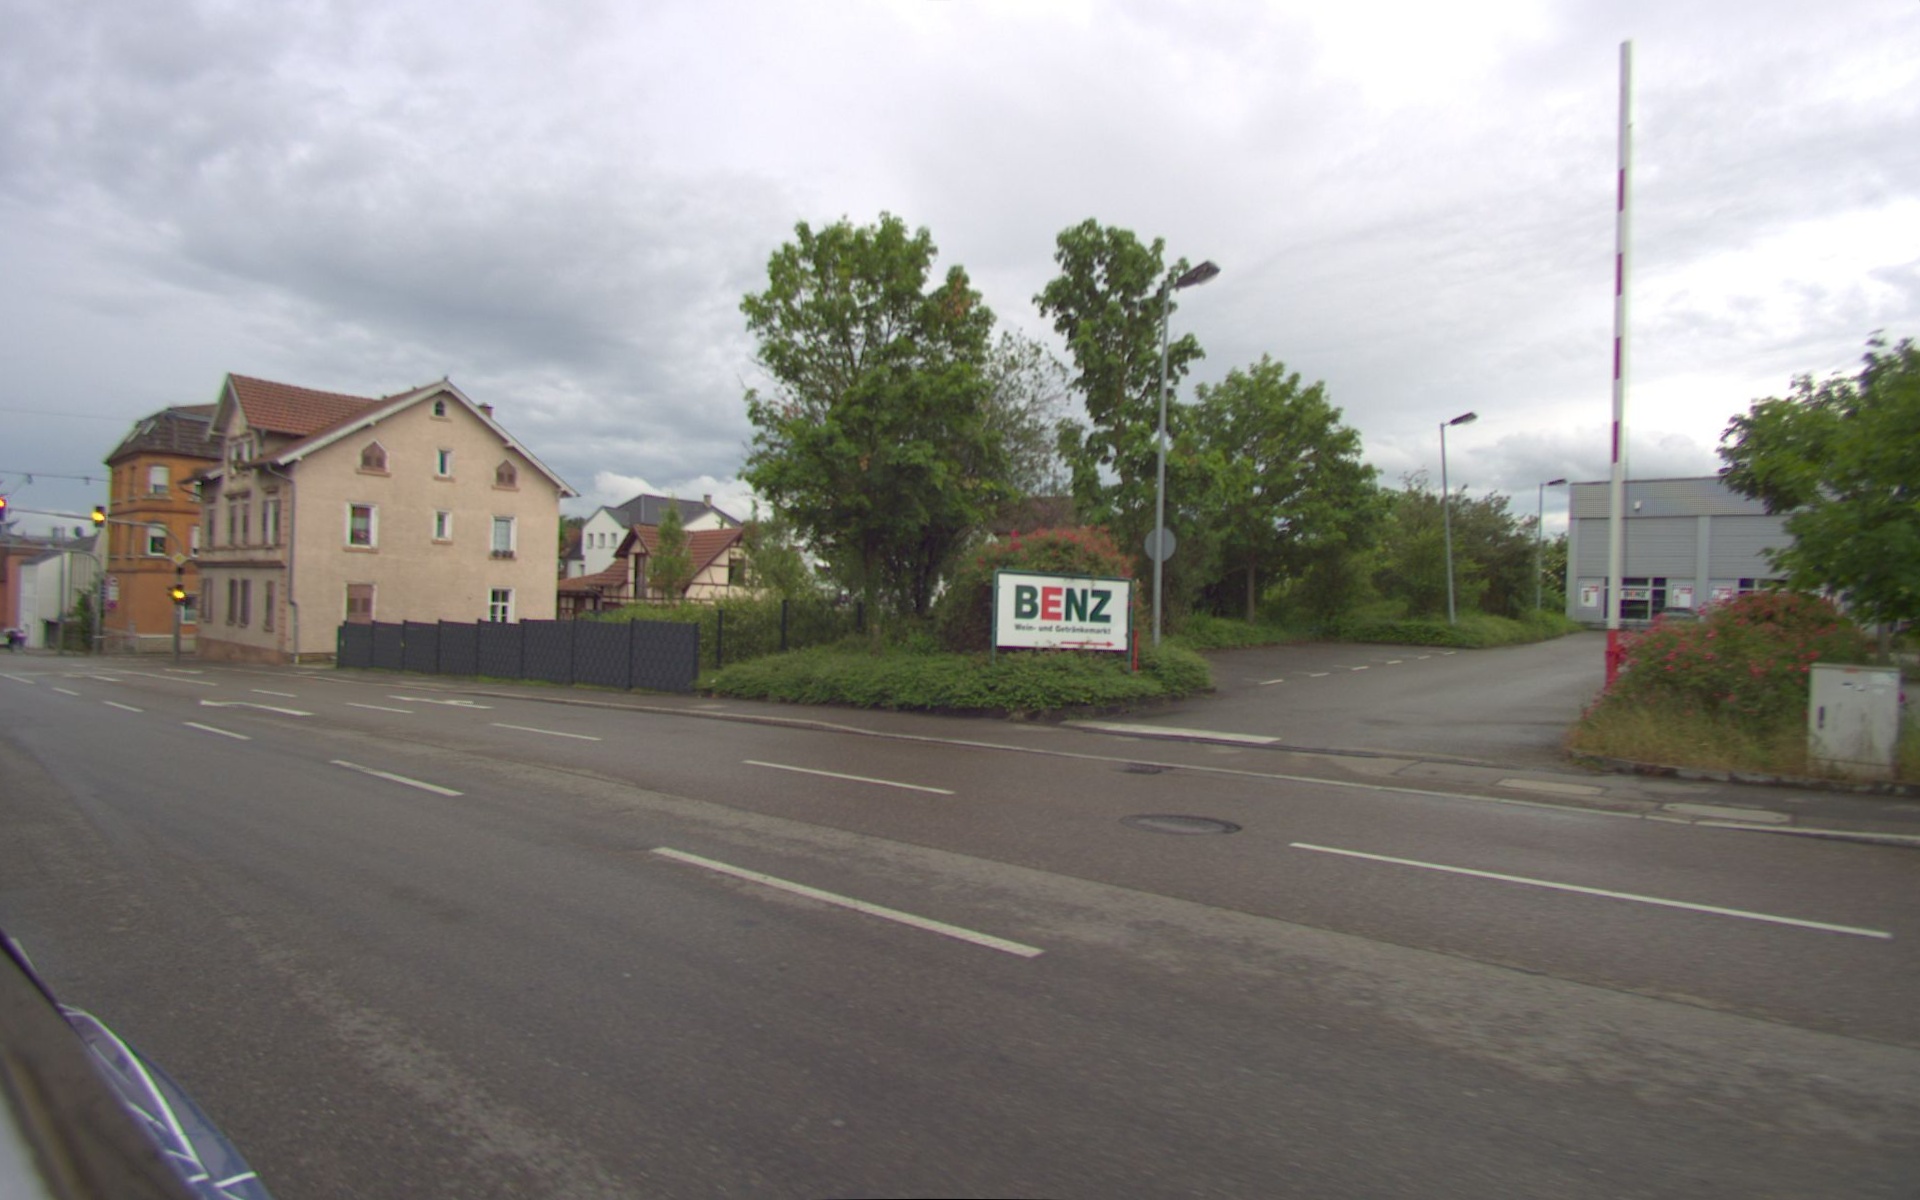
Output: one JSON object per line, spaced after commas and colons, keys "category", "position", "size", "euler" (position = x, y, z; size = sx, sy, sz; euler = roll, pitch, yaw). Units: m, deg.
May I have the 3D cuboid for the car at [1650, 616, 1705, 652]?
{"category": "car", "position": [36.316, 1.703, 51.182], "size": [1.998, 1.696, 3.947], "euler": [-1, -1, 40]}

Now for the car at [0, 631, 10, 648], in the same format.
{"category": "car", "position": [-88.443, 3.604, 92.689], "size": [4.176, 1.519, 1.727], "euler": [-1, -2, 41]}

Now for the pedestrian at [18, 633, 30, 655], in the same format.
{"category": "pedestrian", "position": [-72.900, 3.417, 78.809], "size": [0.911, 1.719, 0.633], "euler": [-2, -2, 42]}

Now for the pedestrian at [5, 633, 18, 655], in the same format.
{"category": "pedestrian", "position": [-73.327, 3.393, 78.232], "size": [0.911, 1.719, 0.633], "euler": [-2, -2, 42]}

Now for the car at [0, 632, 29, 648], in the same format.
{"category": "car", "position": [-102.025, 4.284, 107.426], "size": [2.153, 1.620, 4.482], "euler": [-2, 0, 43]}

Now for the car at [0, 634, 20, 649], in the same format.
{"category": "car", "position": [-104.033, 4.518, 108.912], "size": [2.000, 1.444, 4.117], "euler": [-2, 0, 43]}

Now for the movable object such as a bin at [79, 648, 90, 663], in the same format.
{"category": "movable object such as a bin", "position": [-56.852, 3.608, 65.726], "size": [0.525, 0.932, 0.405], "euler": [-1, -1, 35]}
